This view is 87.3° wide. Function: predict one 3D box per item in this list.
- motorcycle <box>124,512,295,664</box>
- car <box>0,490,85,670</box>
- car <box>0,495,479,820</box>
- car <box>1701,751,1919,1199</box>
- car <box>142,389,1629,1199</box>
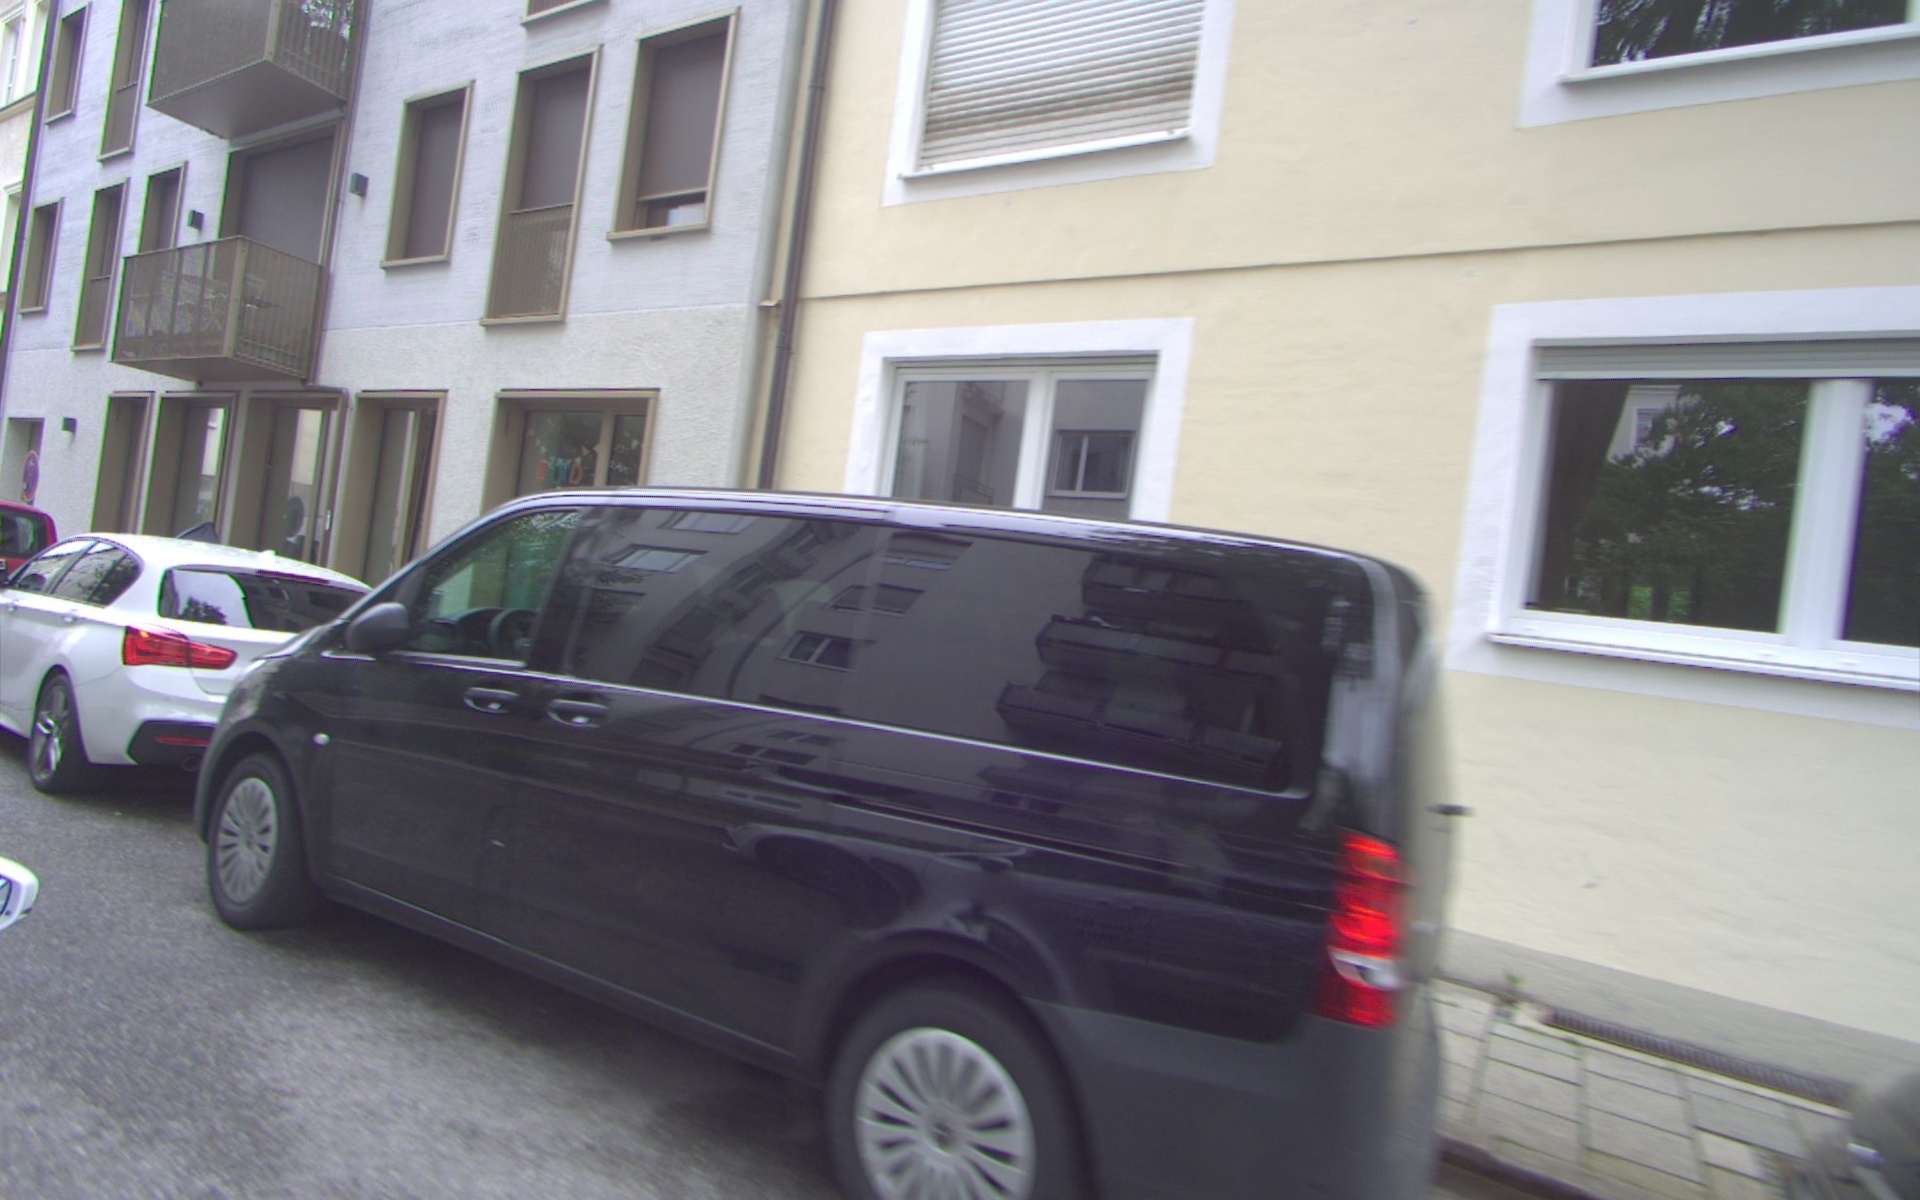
[{"bbox_3d":[-8.350,-0.146,11.171,1.900,1.441,0.805,7,1,33],"label":"motorcycle"},{"bbox_3d":[-10.309,-0.434,9.639,4.001,1.540,1.775,7,-3,34],"label":"car"},{"bbox_3d":[-5.377,0.216,6.741,4.309,1.477,1.772,7,-3,33],"label":"car"},{"bbox_3d":[3.357,1.271,1.414,3.479,1.487,1.639,7,-3,32],"label":"car"},{"bbox_3d":[-0.599,0.515,3.753,4.801,1.998,1.997,7,-3,30],"label":"car"}]
